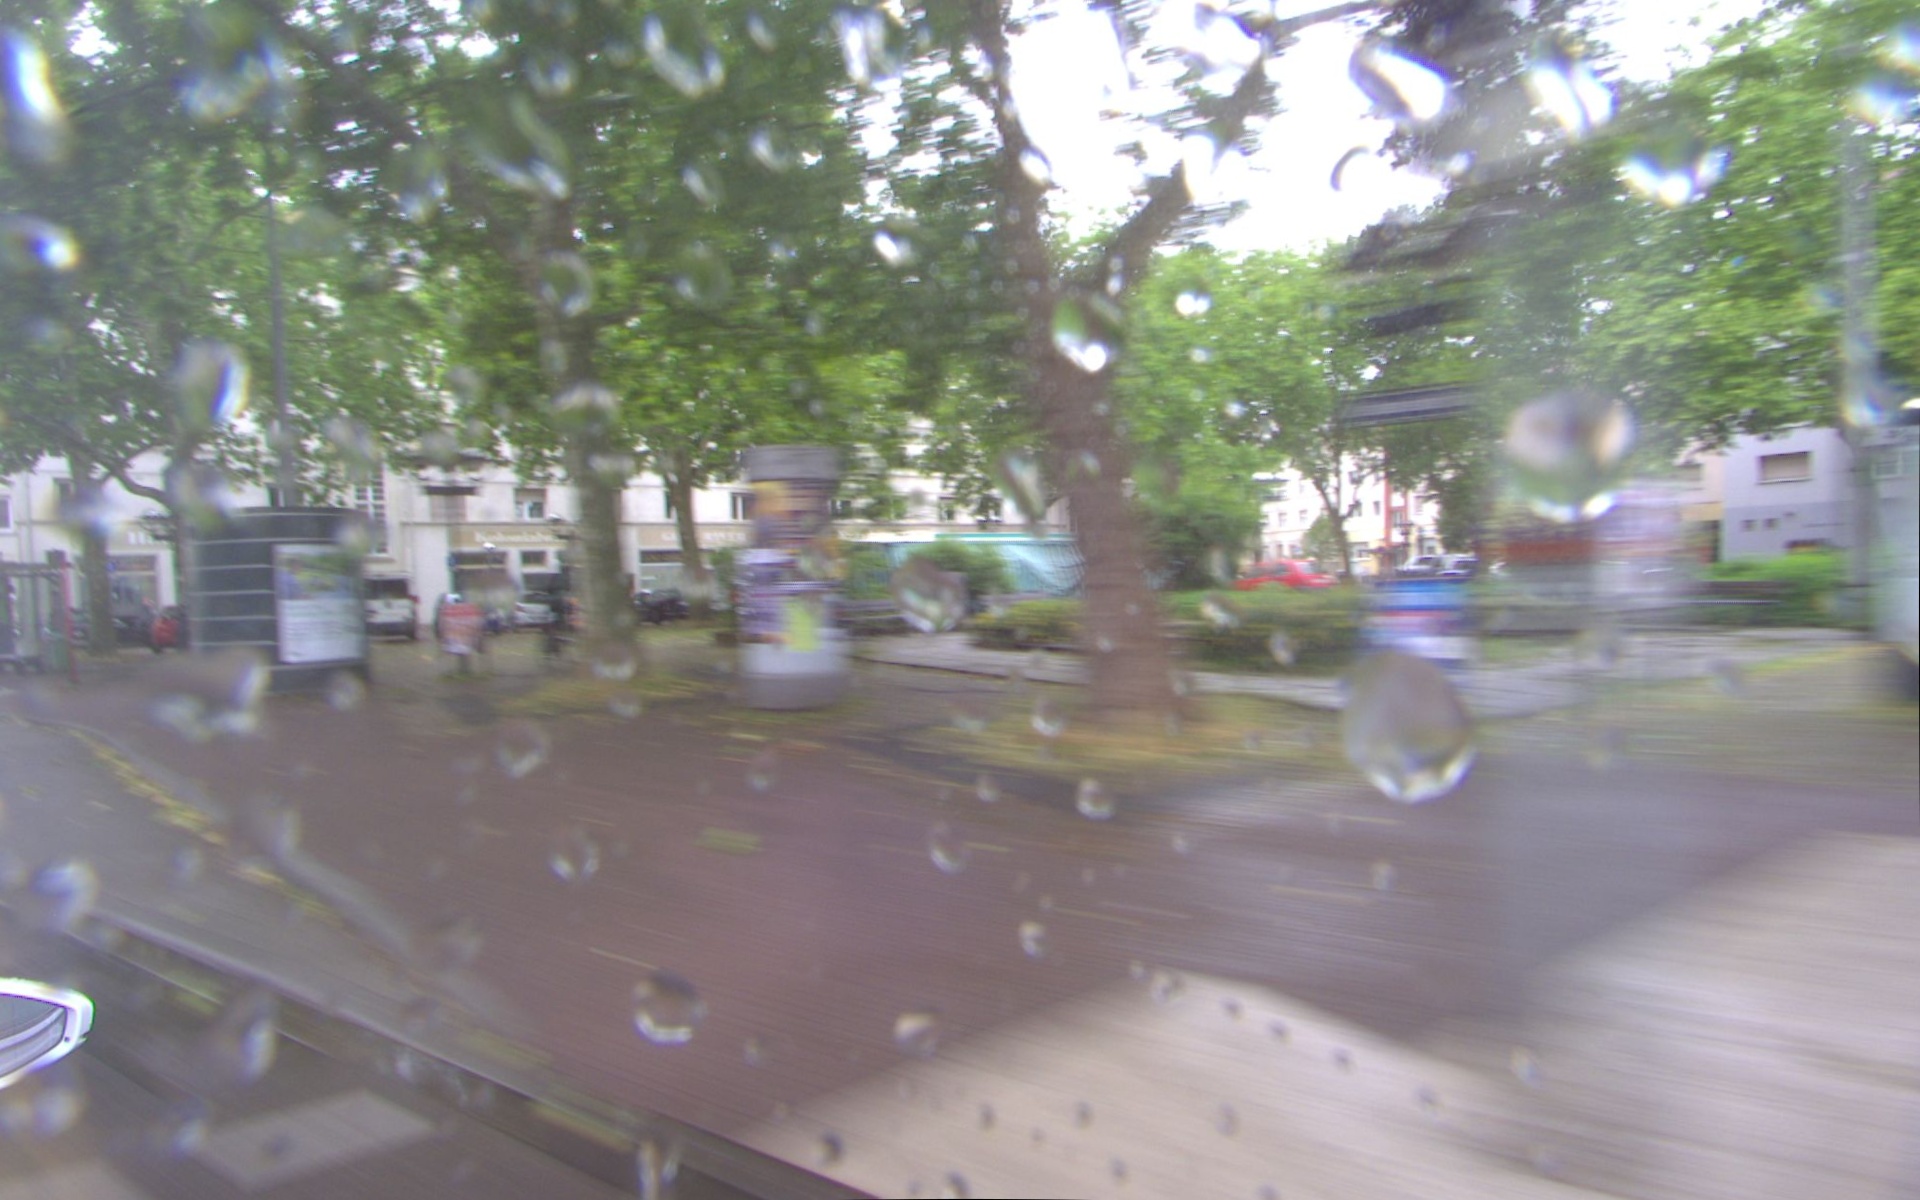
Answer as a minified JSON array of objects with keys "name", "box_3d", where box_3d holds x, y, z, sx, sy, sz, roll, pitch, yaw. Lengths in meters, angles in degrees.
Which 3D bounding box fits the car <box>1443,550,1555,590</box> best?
[{"name":"car","box_3d":[24.136,-1.308,44.908,1.975,1.640,3.969,-3,2,-38]}]

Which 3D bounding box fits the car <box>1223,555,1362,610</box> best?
[{"name":"car","box_3d":[10.013,-0.507,30.318,1.650,1.542,3.645,-4,2,-42]}]

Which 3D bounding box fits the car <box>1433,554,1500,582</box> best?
[{"name":"car","box_3d":[29.015,-1.827,57.343,3.943,1.472,1.667,-3,2,-32]}]

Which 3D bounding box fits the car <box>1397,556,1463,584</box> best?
[{"name":"car","box_3d":[27.988,-1.792,59.579,3.943,1.472,1.667,-3,2,-32]}]
